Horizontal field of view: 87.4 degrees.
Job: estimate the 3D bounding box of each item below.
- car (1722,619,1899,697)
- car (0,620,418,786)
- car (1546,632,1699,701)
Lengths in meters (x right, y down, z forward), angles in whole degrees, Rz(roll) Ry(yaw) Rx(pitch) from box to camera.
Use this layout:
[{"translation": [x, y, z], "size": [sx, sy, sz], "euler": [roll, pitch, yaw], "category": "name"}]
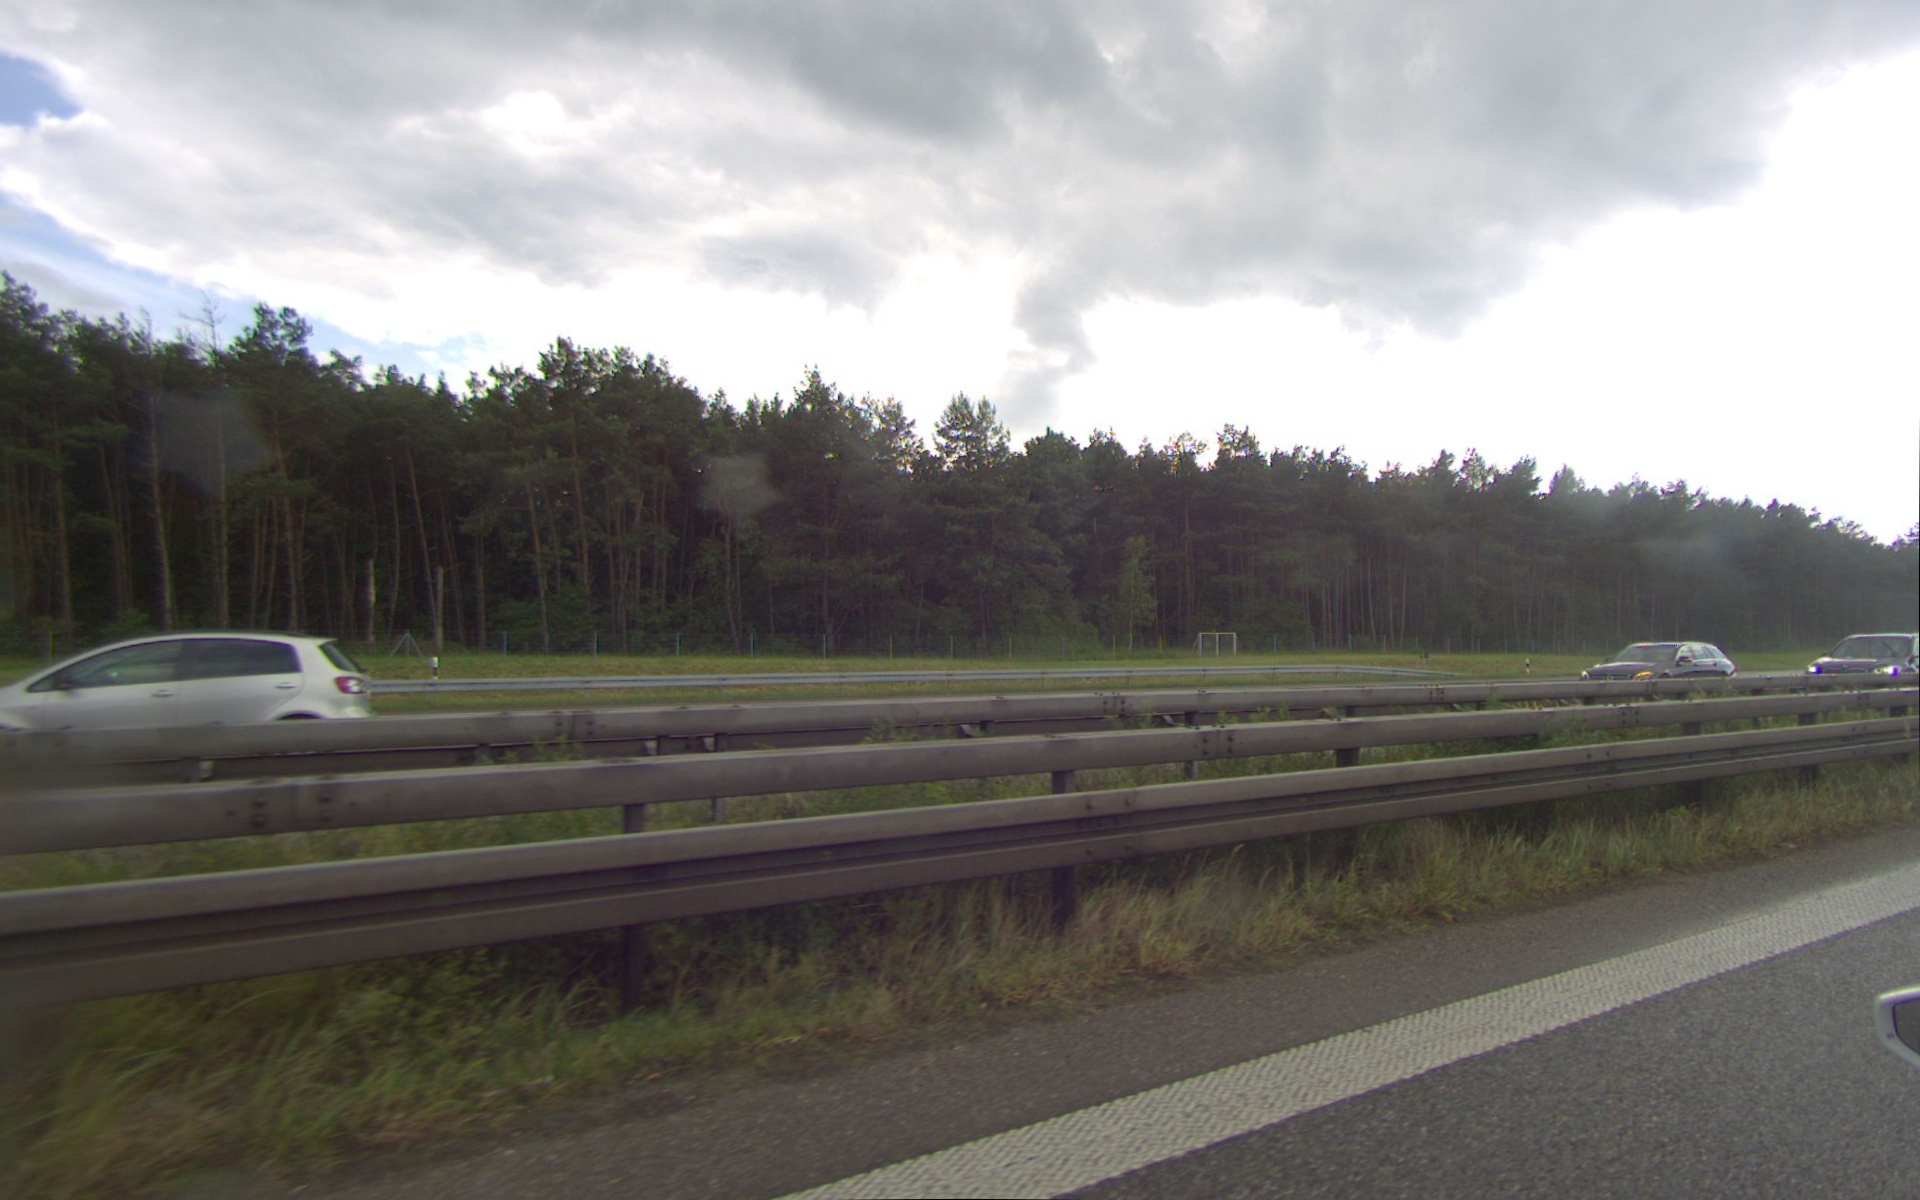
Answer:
[{"translation": [18.667, 1.246, 22.035], "size": [3.677, 1.563, 1.783], "euler": [1, -3, -29], "category": "car"}, {"translation": [-8.337, 1.046, 11.265], "size": [3.904, 1.600, 1.746], "euler": [1, -1, -28], "category": "car"}, {"translation": [16.630, 1.616, 25.198], "size": [3.803, 1.600, 1.744], "euler": [1, -1, -31], "category": "car"}]
